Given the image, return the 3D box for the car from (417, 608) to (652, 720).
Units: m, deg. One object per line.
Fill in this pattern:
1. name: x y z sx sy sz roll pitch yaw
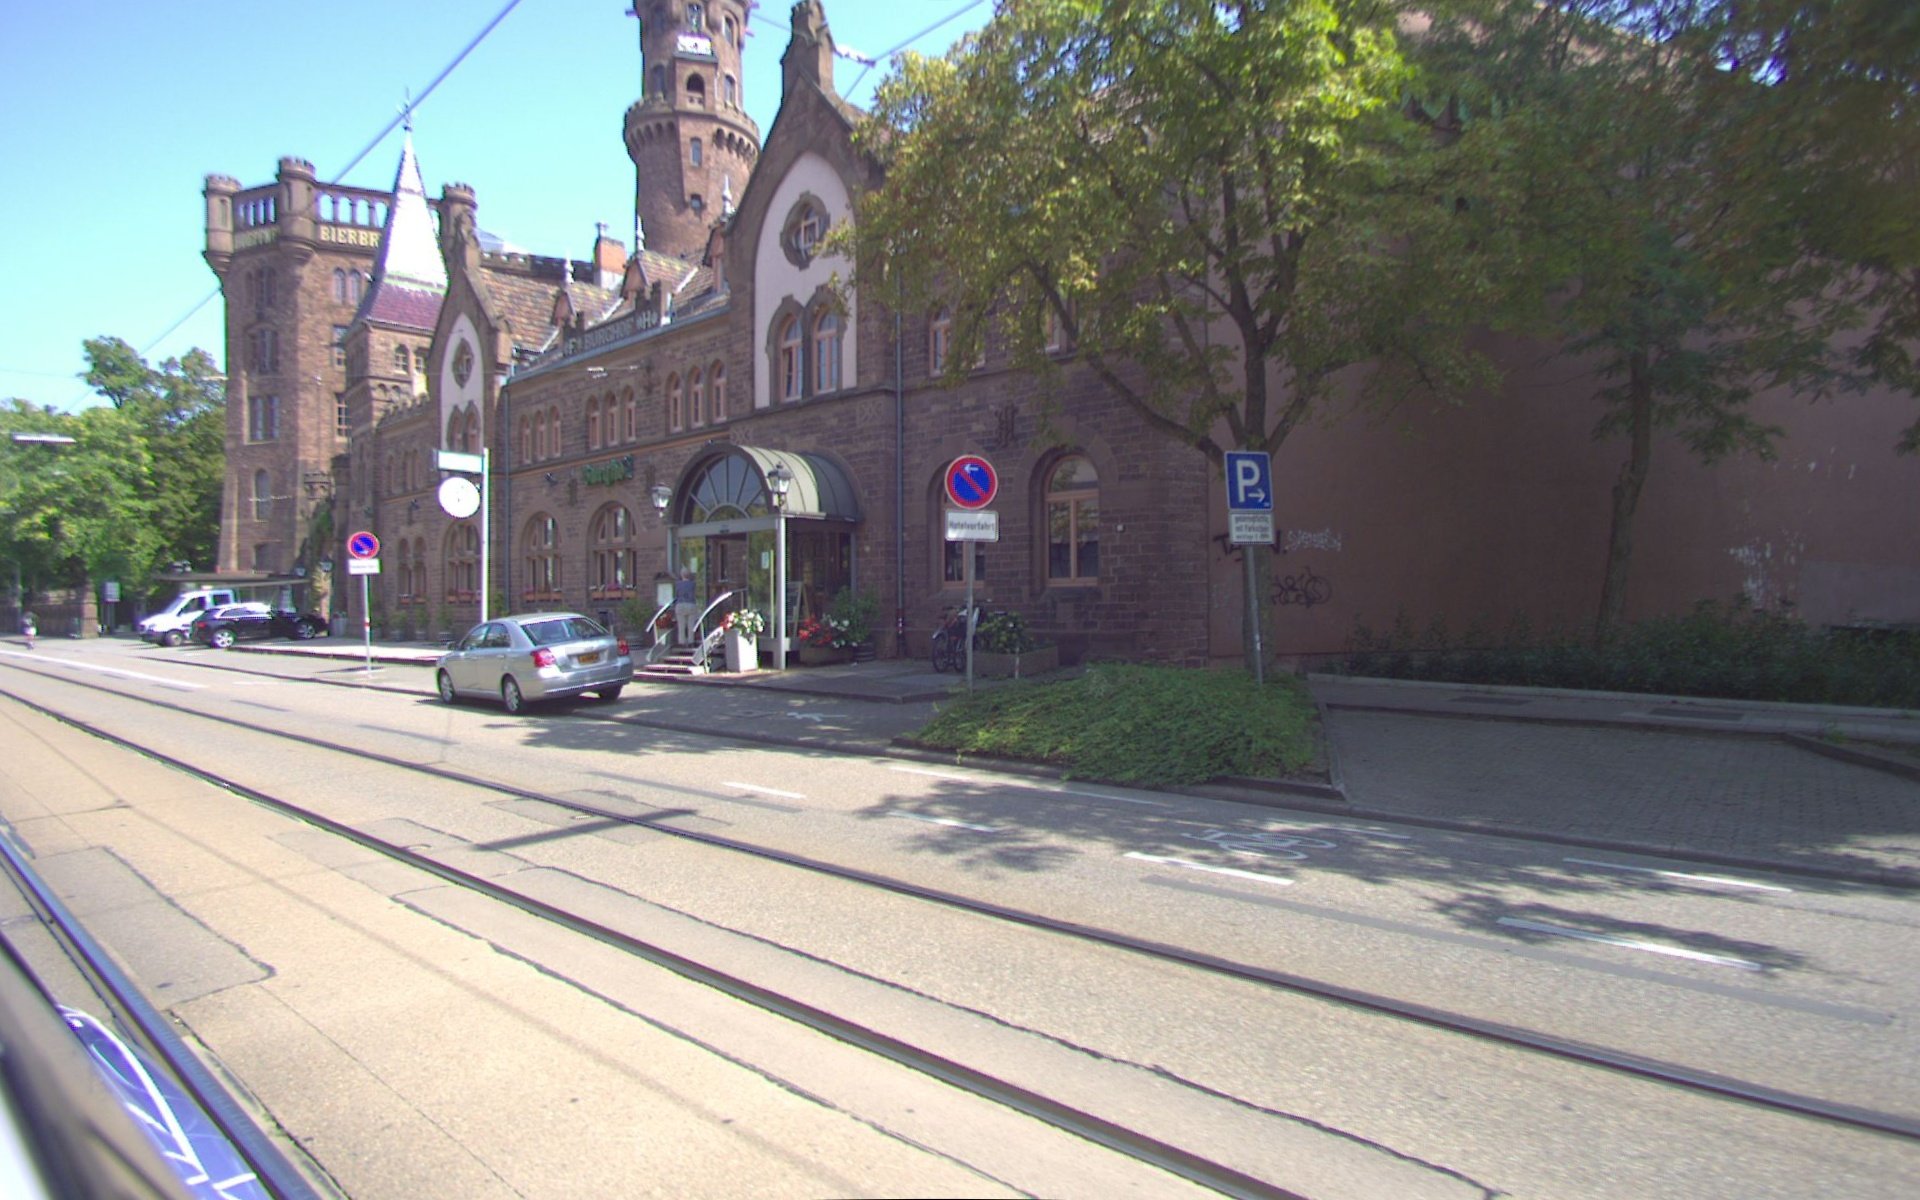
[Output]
1. car: -7.147 0.949 16.761 4.515 1.513 1.914 -1 2 44

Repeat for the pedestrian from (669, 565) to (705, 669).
1. pedestrian: -5.305 0.325 19.691 0.500 1.995 0.517 0 0 12

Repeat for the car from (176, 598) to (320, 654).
1. car: -28.633 1.002 40.809 2.000 1.811 4.350 -1 4 43

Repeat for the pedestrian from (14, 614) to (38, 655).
1. pedestrian: -42.462 1.554 45.992 0.828 1.862 0.727 -1 -1 42

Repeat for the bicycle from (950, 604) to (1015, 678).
1. bicycle: 0.389 0.660 16.910 0.376 1.069 1.434 -1 4 31

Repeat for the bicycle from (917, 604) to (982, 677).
1. bicycle: -0.161 0.667 17.253 0.376 1.069 1.434 -1 4 31

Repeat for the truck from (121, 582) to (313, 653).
1. truck: -32.962 0.720 45.106 2.316 2.543 6.428 -1 3 41

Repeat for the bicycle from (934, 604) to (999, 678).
1. bicycle: 0.121 0.664 17.079 0.376 1.069 1.434 -1 4 31
